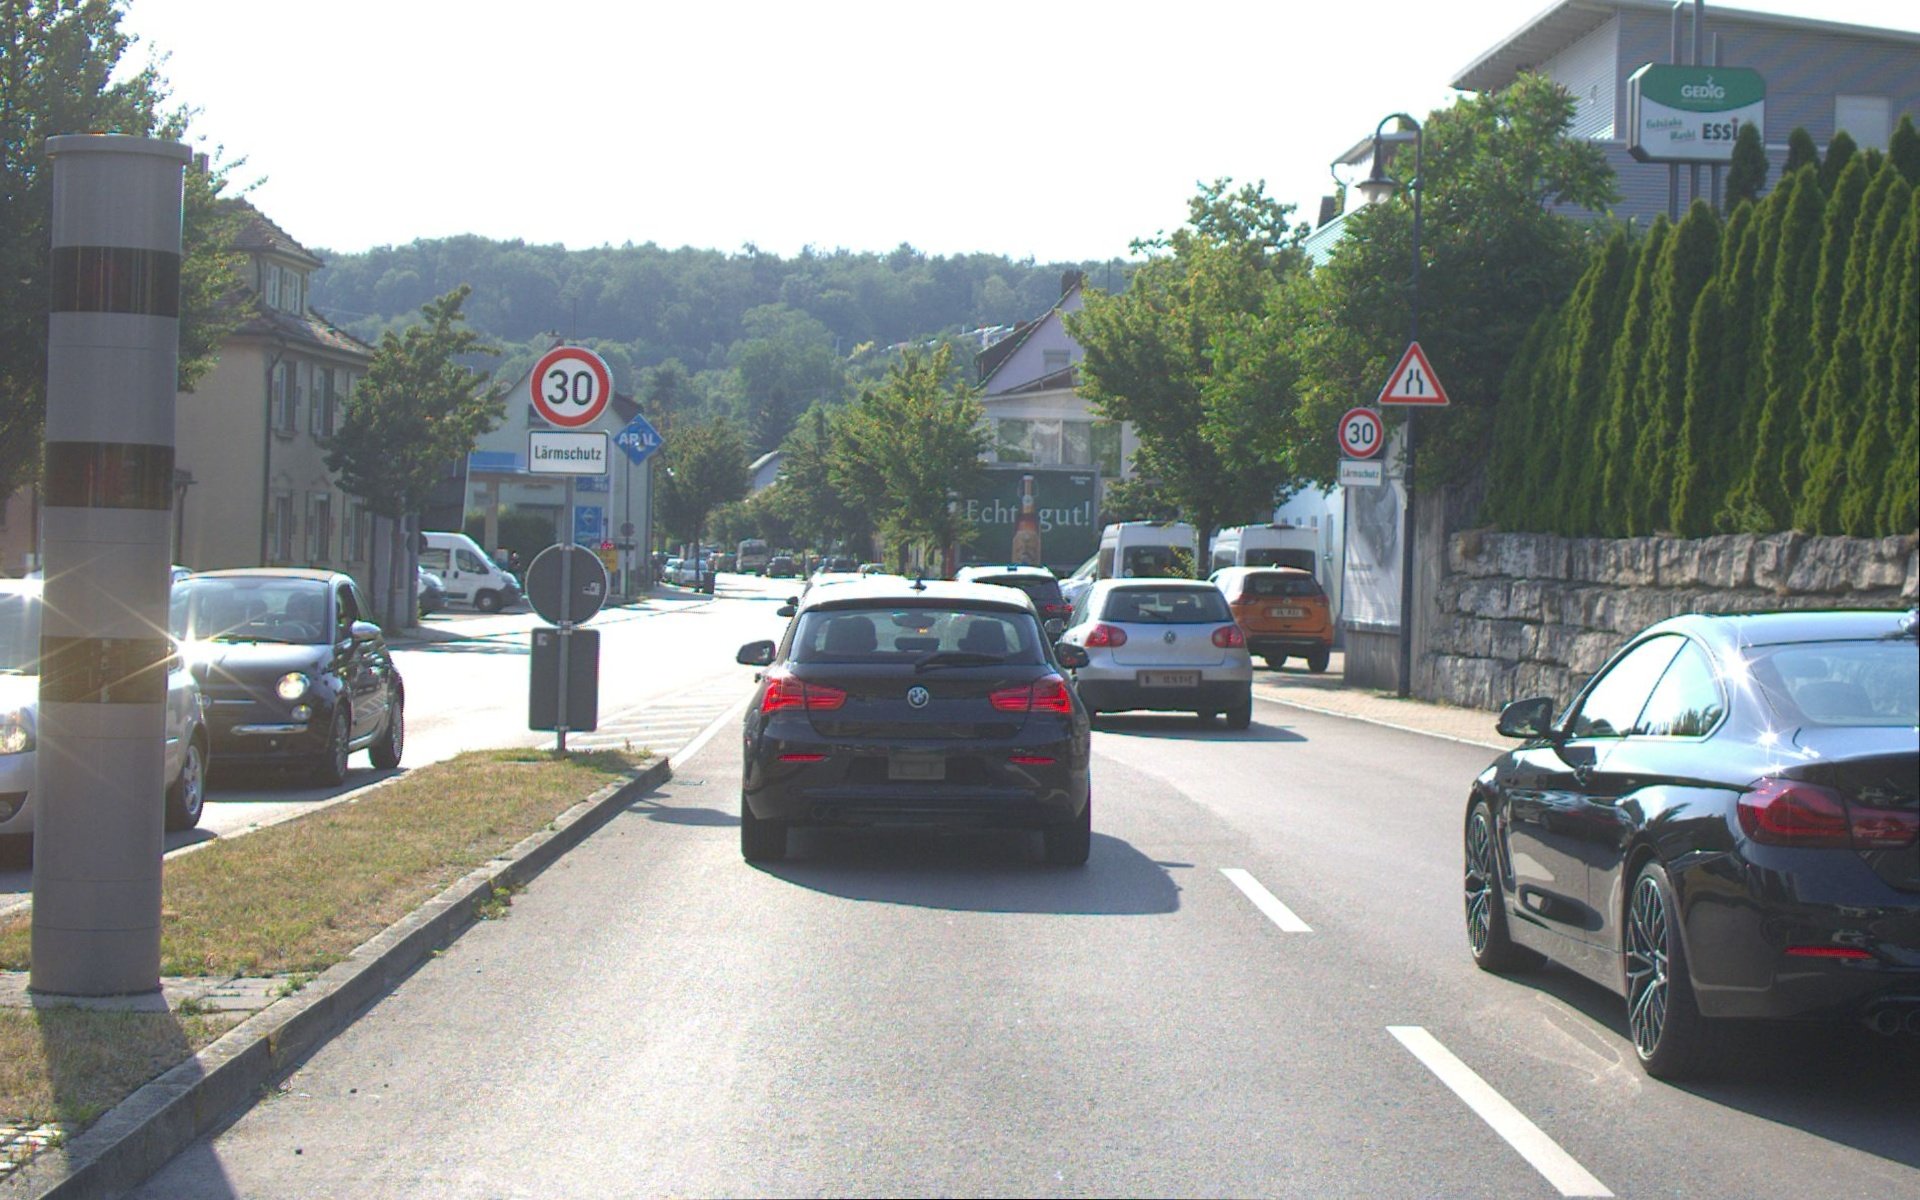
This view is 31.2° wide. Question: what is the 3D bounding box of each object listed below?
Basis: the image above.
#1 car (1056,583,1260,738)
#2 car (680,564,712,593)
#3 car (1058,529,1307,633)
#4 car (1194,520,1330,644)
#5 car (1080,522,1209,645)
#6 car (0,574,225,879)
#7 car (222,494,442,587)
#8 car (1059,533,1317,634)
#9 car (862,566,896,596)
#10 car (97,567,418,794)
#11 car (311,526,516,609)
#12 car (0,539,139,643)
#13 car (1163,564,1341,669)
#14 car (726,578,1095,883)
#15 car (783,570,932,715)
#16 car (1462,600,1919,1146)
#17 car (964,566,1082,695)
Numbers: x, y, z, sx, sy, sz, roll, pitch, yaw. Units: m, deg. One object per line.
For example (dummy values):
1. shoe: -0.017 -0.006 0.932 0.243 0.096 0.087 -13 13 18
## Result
1. car: 1.929 0.565 34.391 1.753 1.409 3.422 1 1 -1
2. car: -14.434 -1.169 188.096 1.596 1.480 3.475 2 1 -3
3. car: 5.612 -0.496 87.193 6.043 2.507 2.044 1 1 -4
4. car: 6.934 -0.460 79.600 2.111 2.712 6.444 1 1 -4
5. car: 4.190 -0.418 79.218 2.149 2.671 6.604 1 1 -4
6. car: -5.047 0.574 17.838 1.589 1.422 3.578 1 0 2
7. car: -18.239 -1.753 100.046 5.920 2.471 2.194 2 2 2
8. car: 5.545 -0.407 84.191 6.043 2.355 2.044 1 1 -4
9. car: -4.145 -0.982 175.611 1.596 1.480 3.475 2 1 -3
10. car: -4.929 0.515 24.505 1.532 1.457 3.506 1 1 0
11. car: -17.419 -1.033 109.775 6.158 2.436 2.250 2 1 -2
12. car: -14.339 -0.164 53.810 1.666 1.482 3.999 4 1 4
13. car: 4.805 0.242 57.269 1.834 1.644 4.539 1 0 -10
14. car: -0.272 0.615 18.272 1.771 1.451 3.516 0 1 -1
15. car: -1.267 0.466 41.142 1.591 1.595 3.894 1 1 -4
16. car: 2.804 0.724 11.216 1.699 1.364 4.262 0 1 0
17. car: 0.877 0.409 49.584 1.603 1.761 3.411 1 1 0
